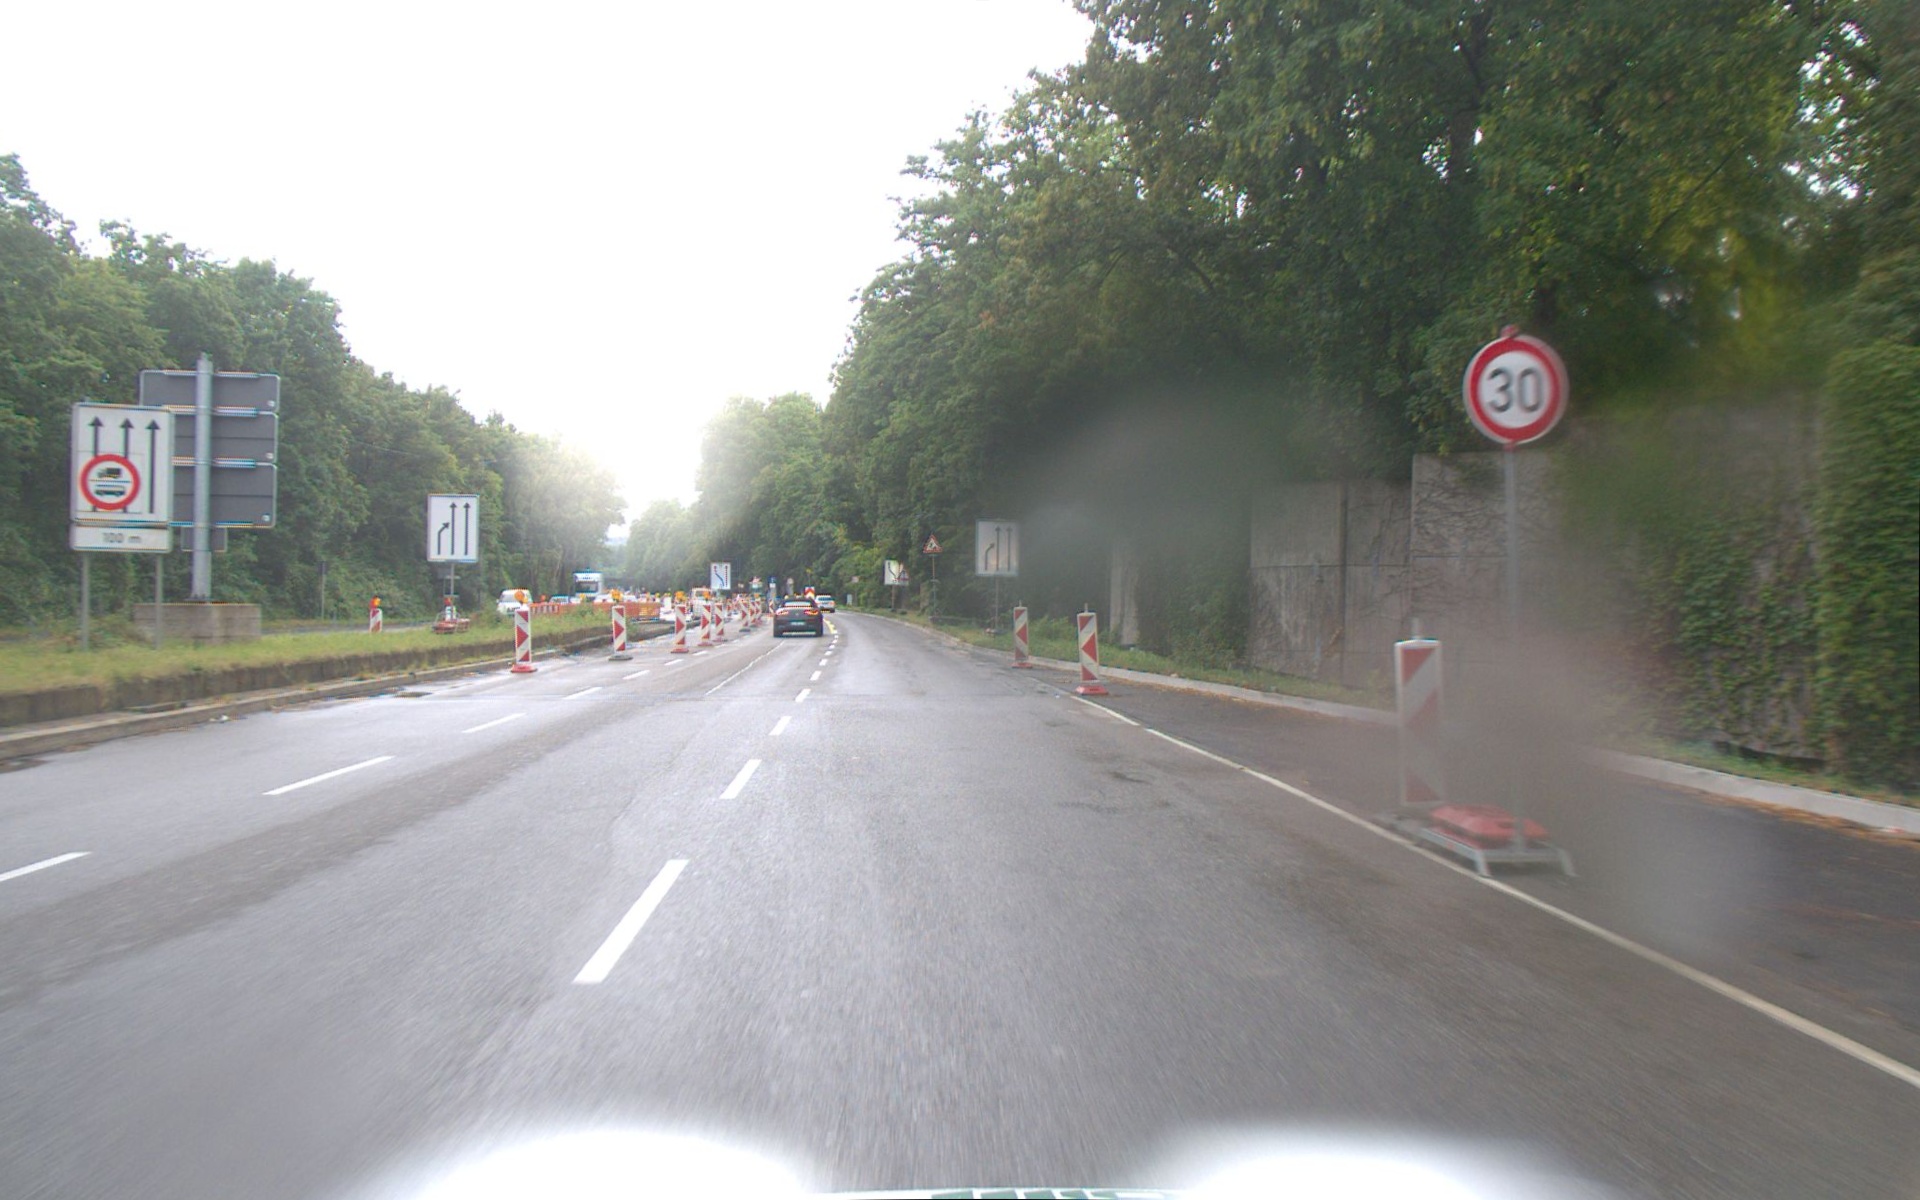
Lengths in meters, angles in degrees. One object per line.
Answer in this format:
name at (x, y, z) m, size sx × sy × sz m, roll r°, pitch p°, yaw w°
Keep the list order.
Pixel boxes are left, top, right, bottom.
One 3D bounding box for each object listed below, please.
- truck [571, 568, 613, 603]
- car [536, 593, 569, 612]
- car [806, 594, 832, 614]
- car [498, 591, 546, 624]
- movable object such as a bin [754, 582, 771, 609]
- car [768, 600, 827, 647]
truck at (-35.470, -1.374, 159.664) m, size 2.741 × 3.203 × 10.135 m, roll 0°, pitch 0°, yaw -6°
car at (-30.967, 0.176, 125.782) m, size 1.756 × 1.450 × 3.893 m, roll 0°, pitch 0°, yaw -4°
car at (-12.126, 0.305, 141.996) m, size 1.878 × 1.626 × 4.824 m, roll 0°, pitch 1°, yaw -9°
car at (-25.702, 0.437, 97.210) m, size 1.877 × 1.812 × 4.829 m, roll 0°, pitch 1°, yaw -5°
movable object such as a bin at (-21.876, -0.456, 183.094) m, size 1.715 × 2.917 × 3.525 m, roll -1°, pitch 0°, yaw -10°
car at (-6.101, 0.859, 62.506) m, size 1.824 × 1.517 × 4.001 m, roll 2°, pitch 2°, yaw 0°
